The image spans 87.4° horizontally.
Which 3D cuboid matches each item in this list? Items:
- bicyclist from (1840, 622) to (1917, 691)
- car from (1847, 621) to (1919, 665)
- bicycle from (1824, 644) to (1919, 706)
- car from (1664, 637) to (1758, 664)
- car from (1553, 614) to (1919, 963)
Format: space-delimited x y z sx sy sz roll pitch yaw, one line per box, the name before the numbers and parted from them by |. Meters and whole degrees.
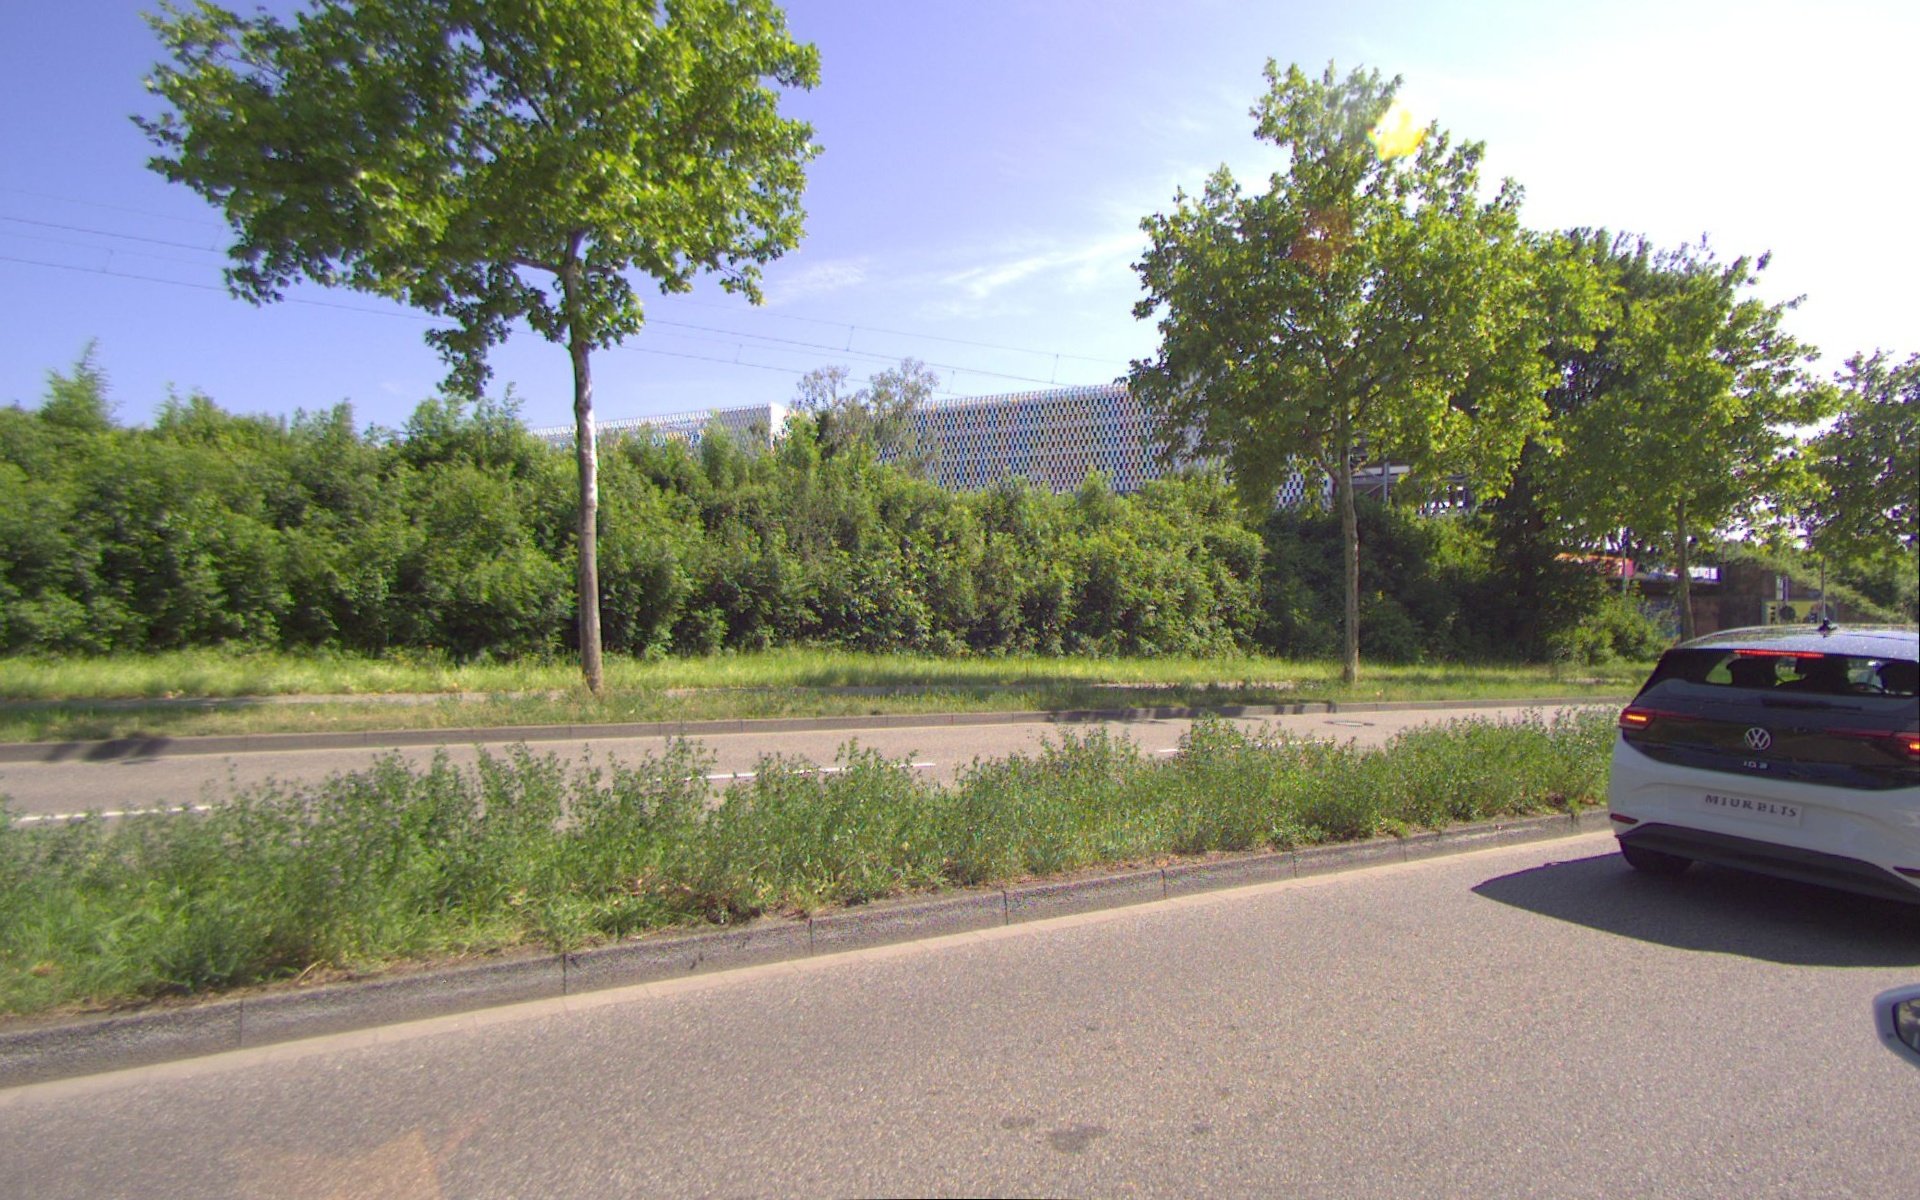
bicyclist | 16.923 1.034 18.513 1.089 1.206 0.725 2 0 -30
car | 56.185 2.551 59.471 5.039 2.450 2.000 1 0 21
bicycle | 16.816 1.360 18.454 2.190 1.043 0.725 2 1 -30
car | 44.575 2.986 59.691 4.250 1.445 1.485 0 -1 27
car | 5.765 0.914 6.199 4.158 1.541 1.811 2 -1 -30
